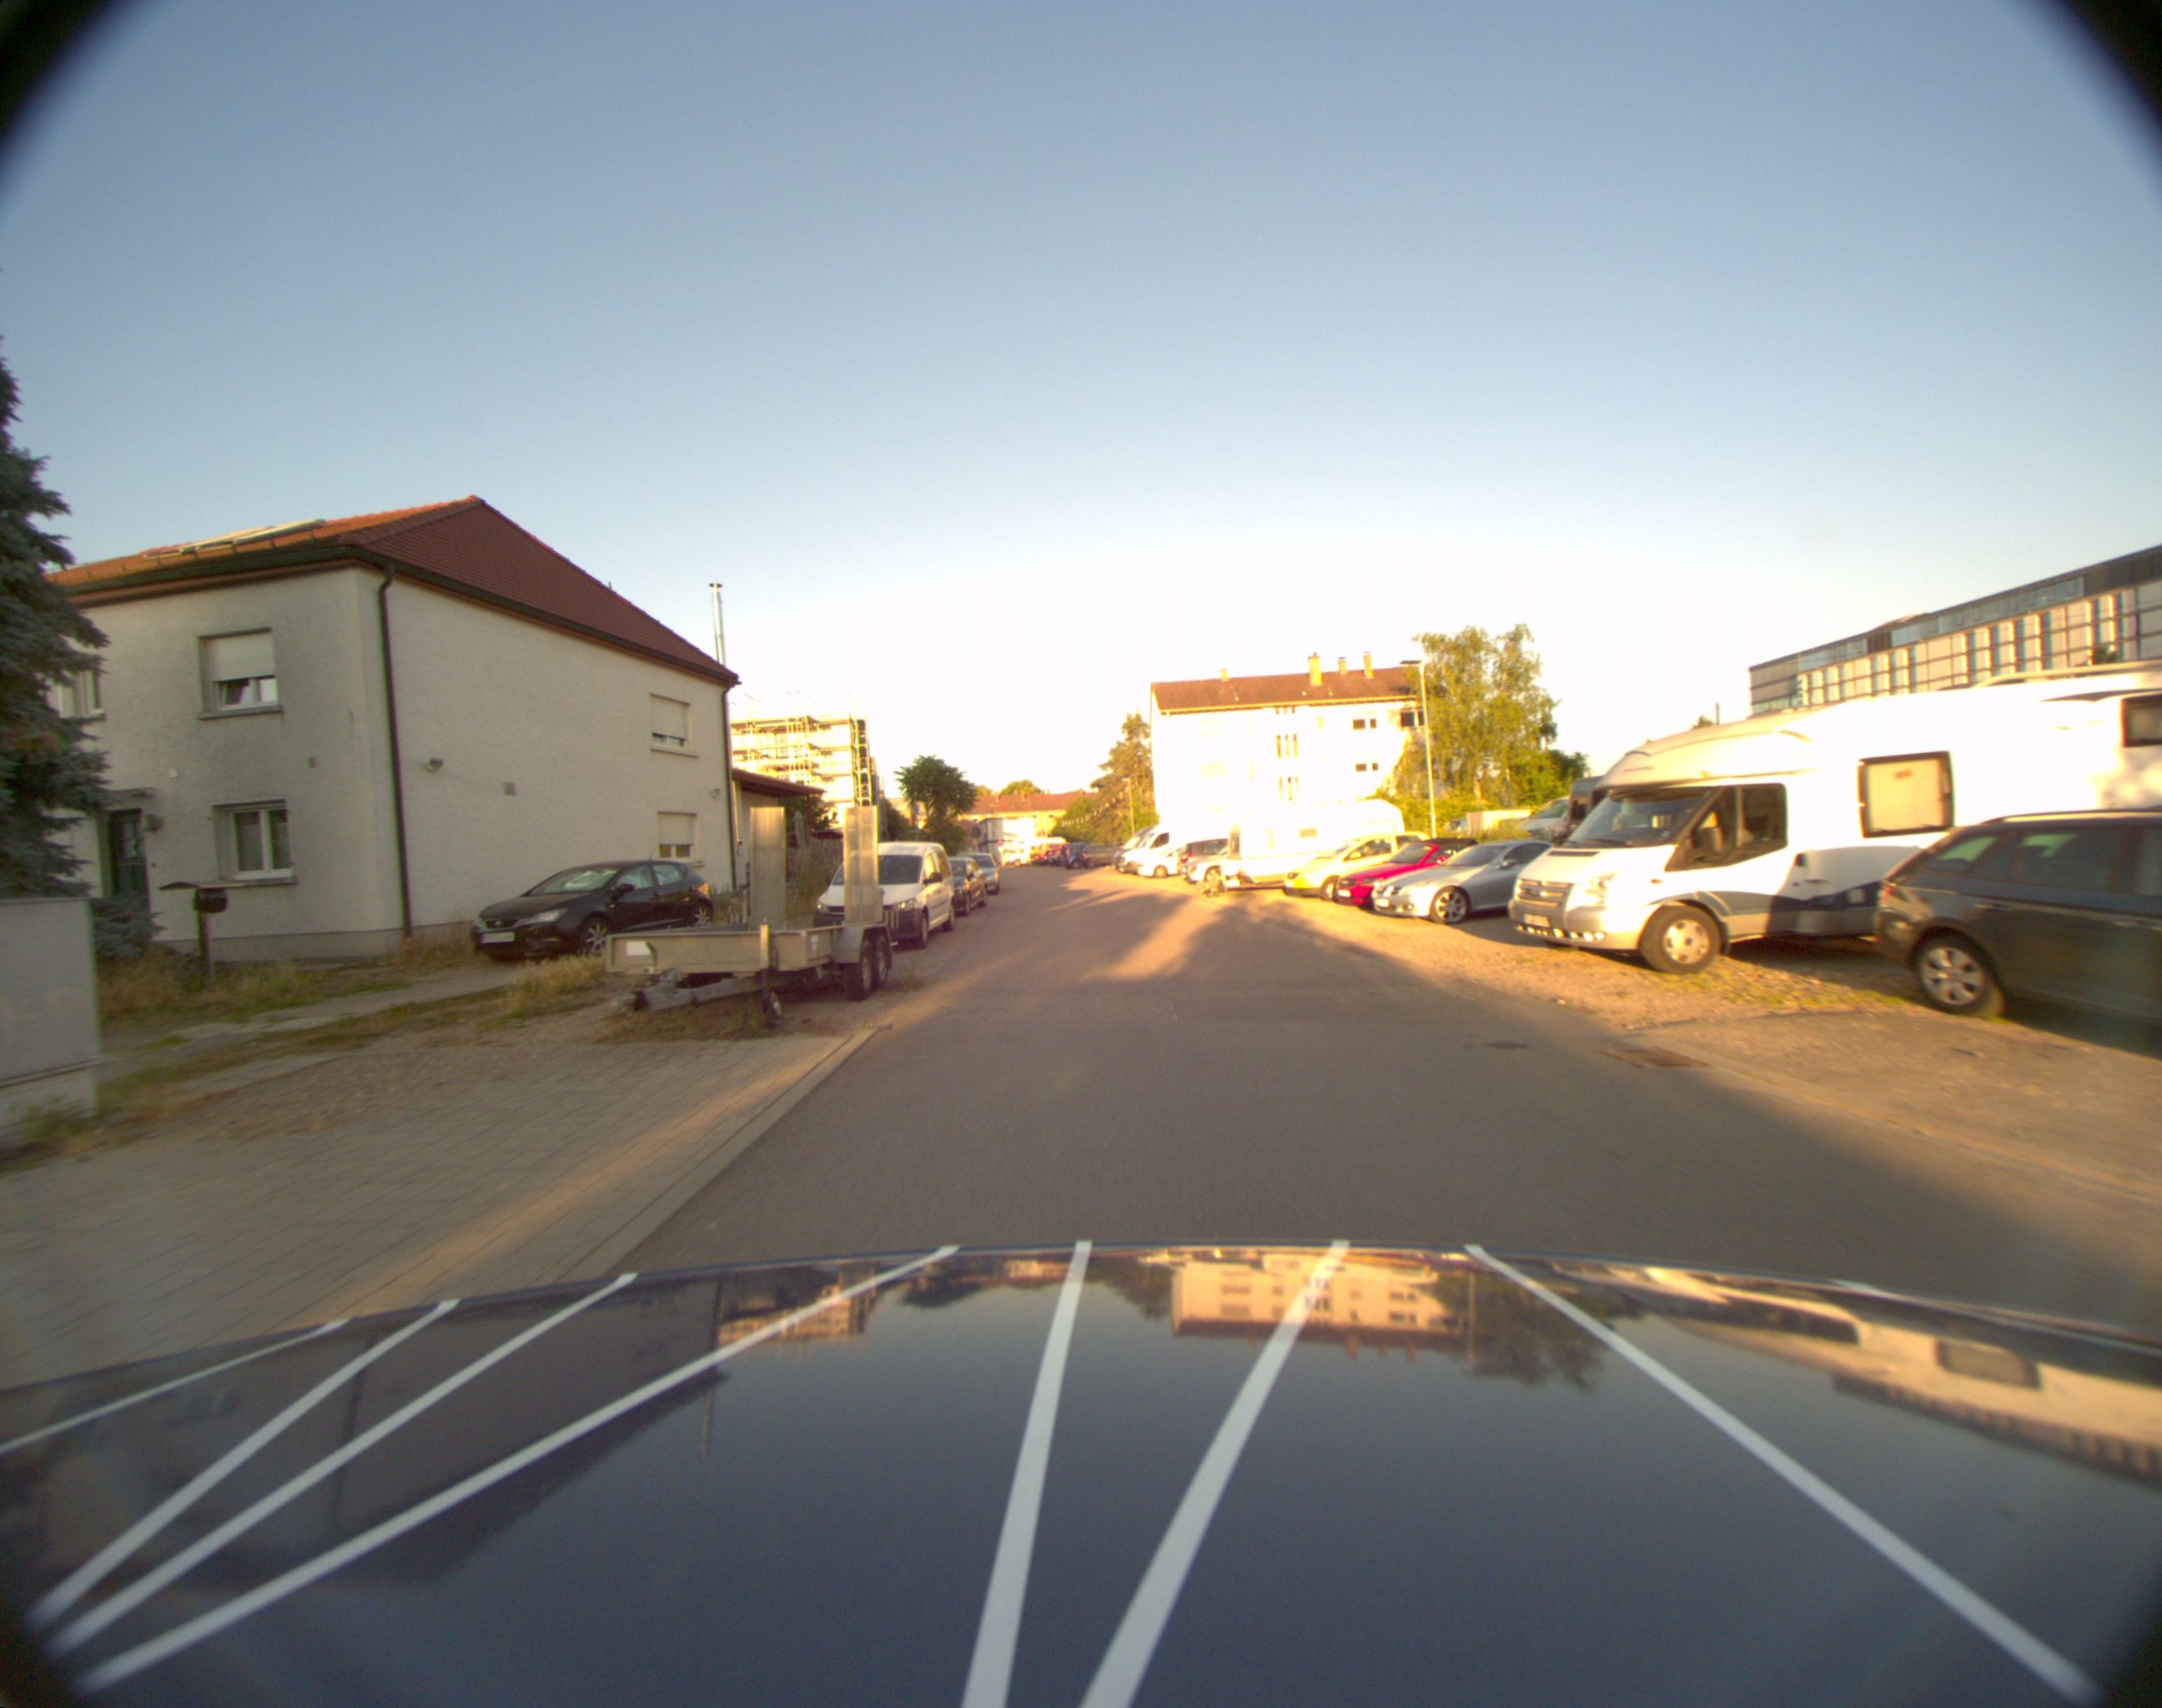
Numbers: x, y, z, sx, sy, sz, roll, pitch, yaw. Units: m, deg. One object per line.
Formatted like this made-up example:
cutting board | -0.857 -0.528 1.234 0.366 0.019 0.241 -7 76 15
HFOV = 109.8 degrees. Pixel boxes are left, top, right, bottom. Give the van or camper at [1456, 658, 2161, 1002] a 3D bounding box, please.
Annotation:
van or camper | 8.181 -0.266 8.372 6.757 2.881 2.408 -4 1 1

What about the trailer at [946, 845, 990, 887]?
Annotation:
trailer | -5.194 0.503 35.349 1.736 1.767 4.934 -1 0 -6

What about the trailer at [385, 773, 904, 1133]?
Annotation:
trailer | -3.365 0.615 7.436 2.070 2.199 5.221 -2 0 -2

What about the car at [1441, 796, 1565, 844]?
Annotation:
car | 15.747 -1.258 28.469 3.614 1.468 1.665 -4 1 -1

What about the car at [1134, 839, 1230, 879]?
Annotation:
car | 4.590 0.195 34.766 3.937 1.499 1.788 -4 1 -7

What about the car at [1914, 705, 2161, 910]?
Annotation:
car | 16.660 -0.837 11.067 6.256 2.658 2.223 -4 1 3

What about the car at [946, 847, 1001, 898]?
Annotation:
car | -3.979 0.629 28.870 1.811 1.715 4.925 -1 0 -6

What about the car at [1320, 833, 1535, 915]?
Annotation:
car | 7.274 0.384 16.152 3.737 1.359 1.704 -5 1 -6

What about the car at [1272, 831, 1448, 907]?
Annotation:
car | 6.850 0.336 18.839 3.639 1.510 1.704 -5 1 -6

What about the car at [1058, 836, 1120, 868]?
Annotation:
car | 0.551 -0.122 54.878 3.941 1.900 1.745 -6 1 -20

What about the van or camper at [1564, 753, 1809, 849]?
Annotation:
van or camper | 14.727 -1.242 18.669 4.347 1.880 1.932 -4 1 2

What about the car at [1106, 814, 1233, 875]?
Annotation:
car | 4.816 -0.567 41.635 6.410 2.698 2.110 -5 2 -14

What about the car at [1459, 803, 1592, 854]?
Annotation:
car | 15.504 -0.880 26.642 3.614 1.468 1.665 -4 1 -1

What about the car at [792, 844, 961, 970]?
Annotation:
car | -3.468 0.783 13.818 1.775 1.821 4.407 -2 1 0

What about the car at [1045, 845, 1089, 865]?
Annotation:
car | -1.348 0.089 71.961 4.047 1.610 1.848 -4 1 -4

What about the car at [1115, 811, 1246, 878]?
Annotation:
car | 4.866 -0.487 37.343 5.844 2.697 2.049 -5 1 -9

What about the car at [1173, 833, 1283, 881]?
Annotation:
car | 5.719 0.107 29.987 3.935 1.581 1.748 -4 1 1

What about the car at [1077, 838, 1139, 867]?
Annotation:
car | 1.851 -0.088 52.501 3.937 1.643 1.747 -5 1 -5

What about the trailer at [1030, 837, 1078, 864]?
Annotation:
trailer | -2.882 -0.359 80.860 4.806 2.419 2.132 -5 3 -6

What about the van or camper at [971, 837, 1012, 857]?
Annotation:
van or camper | -15.205 -1.180 128.956 6.476 2.625 2.404 -6 1 -11

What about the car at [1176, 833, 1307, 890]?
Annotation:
car | 5.648 0.235 27.007 4.138 1.582 1.747 -5 2 -6

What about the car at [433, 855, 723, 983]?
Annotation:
car | -7.775 0.904 12.275 1.639 1.511 3.903 -2 3 8

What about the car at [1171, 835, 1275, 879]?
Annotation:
car | 5.984 0.099 32.297 3.937 1.582 1.746 -4 2 -7

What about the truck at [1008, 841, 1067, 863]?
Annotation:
truck | -4.792 -0.245 83.407 6.031 2.031 2.353 -4 1 -10

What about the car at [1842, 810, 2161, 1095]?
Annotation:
car | 6.841 0.544 4.005 1.690 1.510 4.363 -4 1 9

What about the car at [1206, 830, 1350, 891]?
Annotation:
car | 6.409 0.188 24.937 4.138 1.582 1.747 -5 2 -4

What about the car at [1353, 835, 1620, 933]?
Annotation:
car | 7.088 0.488 13.509 3.818 1.321 1.692 -4 1 -4

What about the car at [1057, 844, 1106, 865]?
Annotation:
car | 0.016 0.014 63.872 3.936 1.508 1.642 -4 2 -4

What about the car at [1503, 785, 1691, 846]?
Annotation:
car | 15.958 -1.169 23.708 4.376 1.468 1.982 -4 1 5

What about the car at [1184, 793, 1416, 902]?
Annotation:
car | 6.221 -0.220 22.162 5.903 2.520 2.410 -5 2 -2

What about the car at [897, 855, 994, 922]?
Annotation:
car | -3.533 0.846 20.487 1.708 1.510 4.088 -2 1 2
